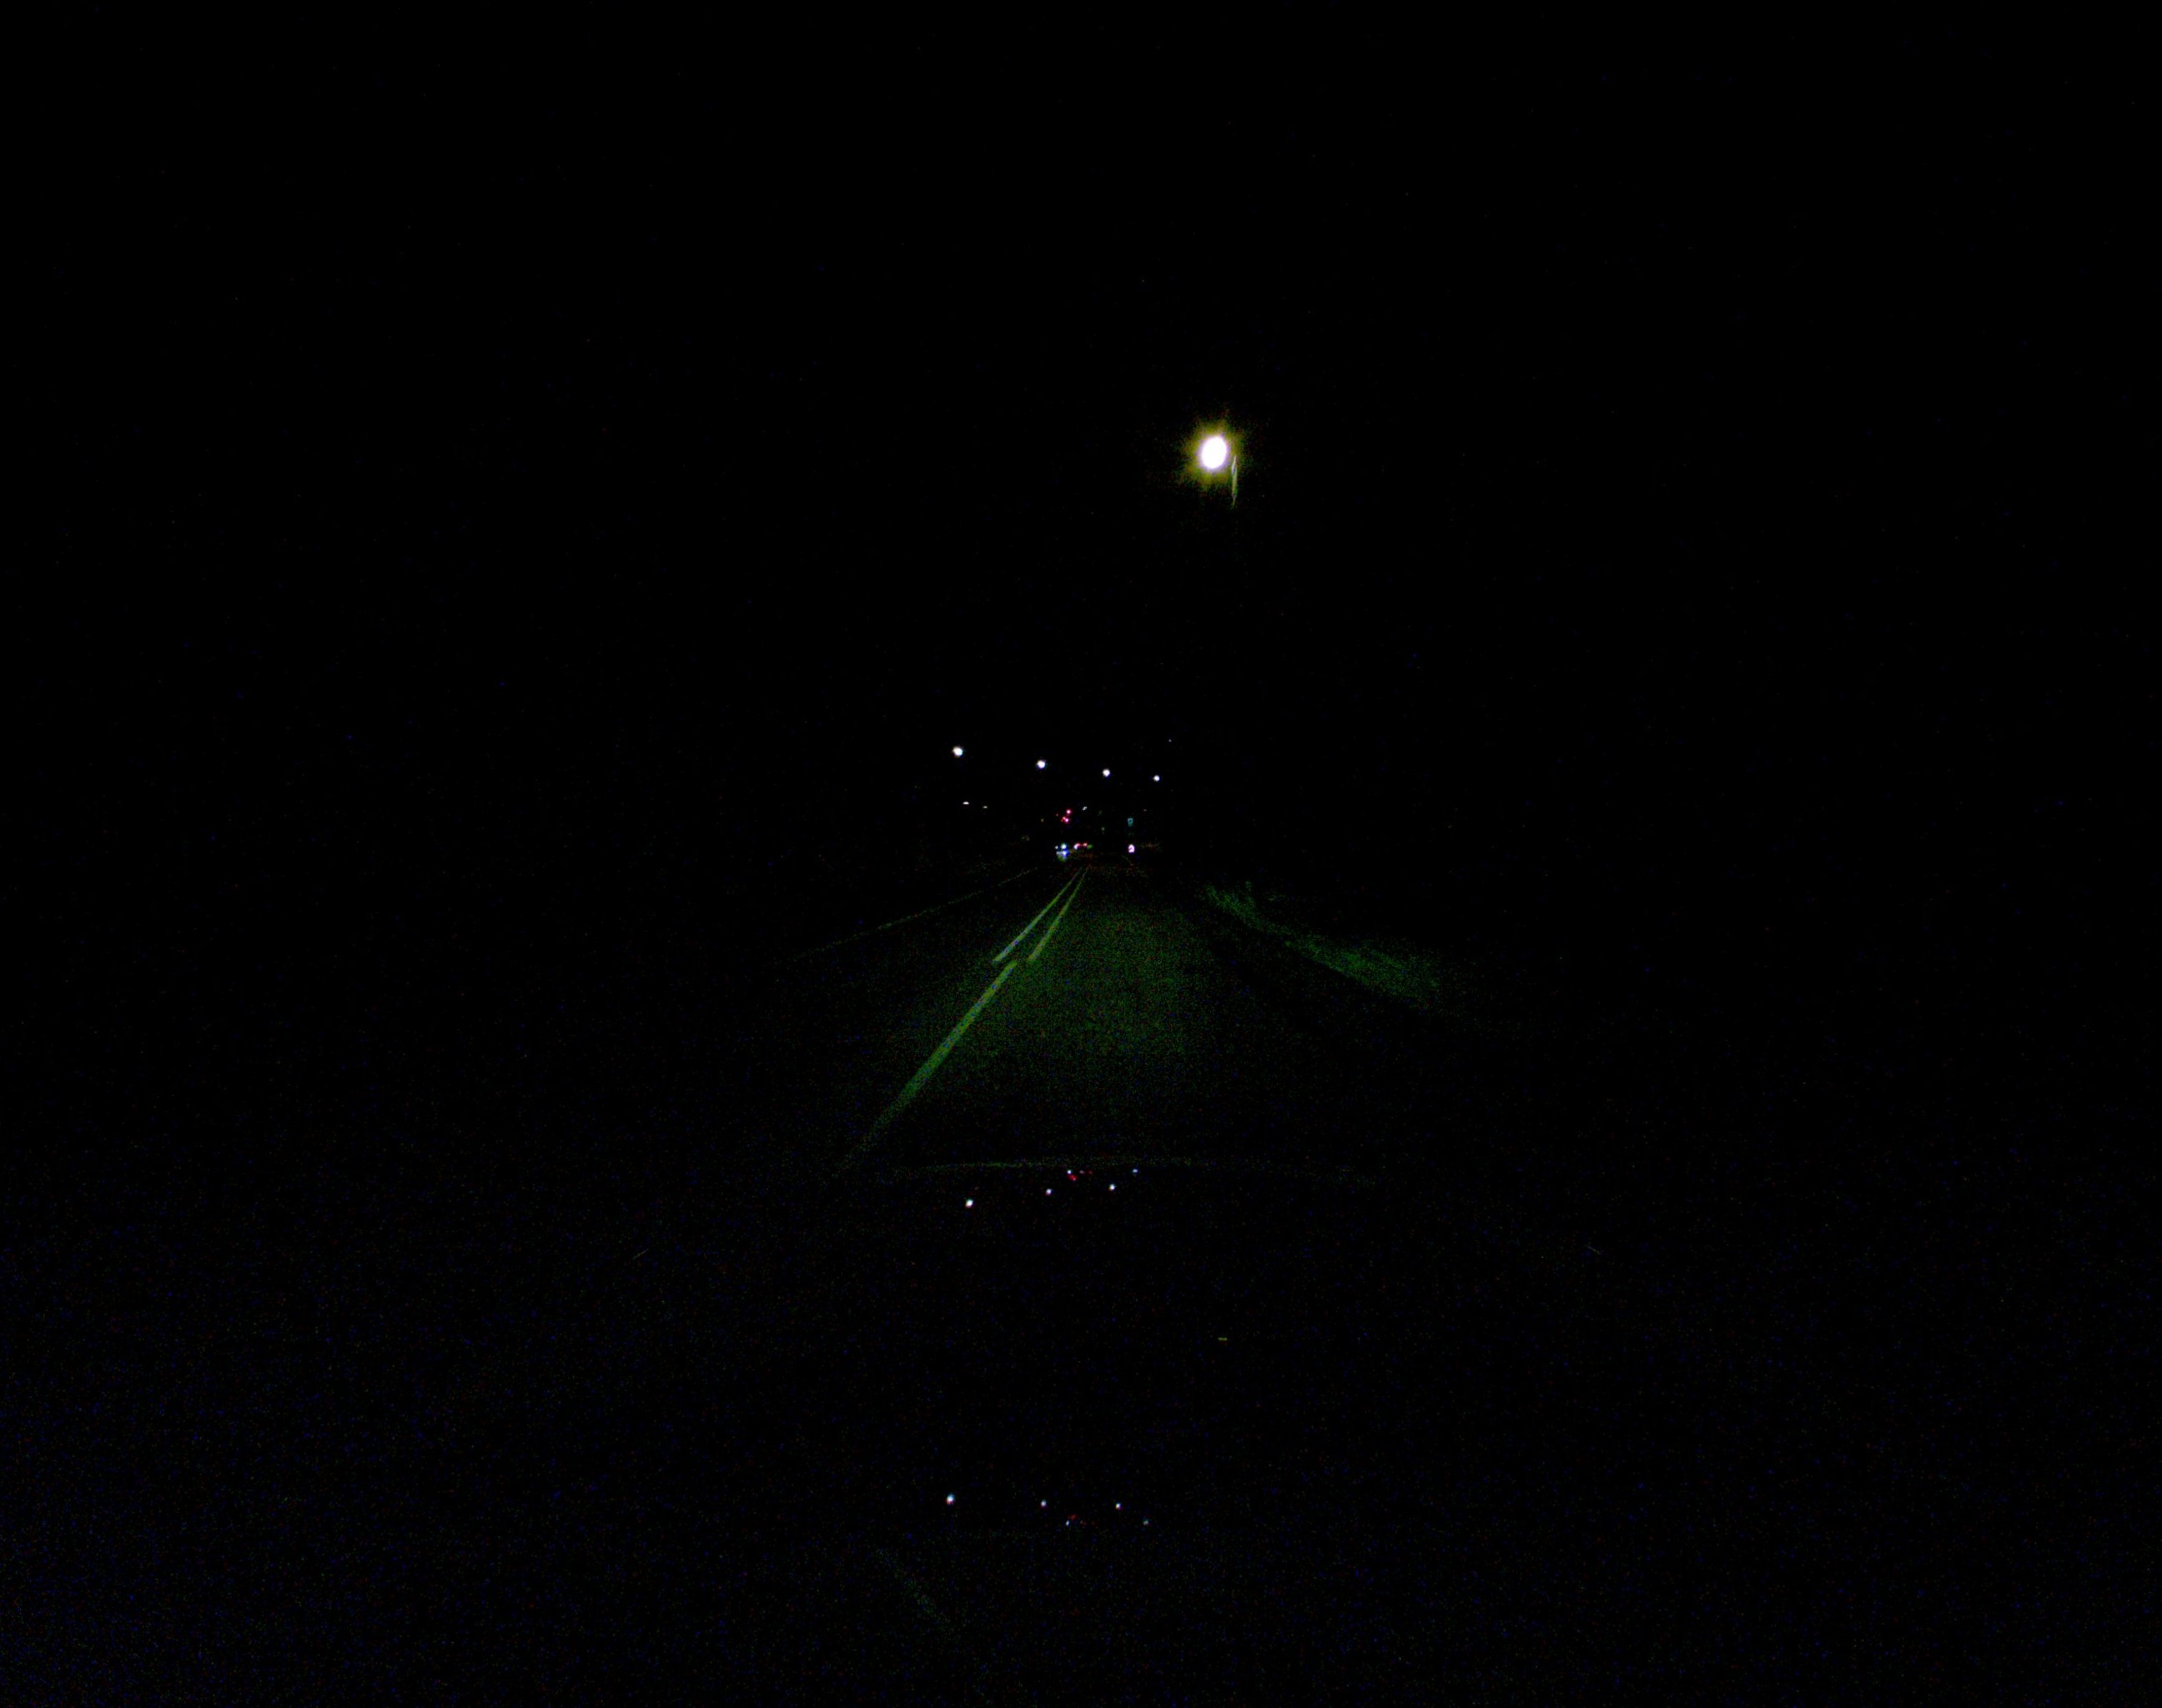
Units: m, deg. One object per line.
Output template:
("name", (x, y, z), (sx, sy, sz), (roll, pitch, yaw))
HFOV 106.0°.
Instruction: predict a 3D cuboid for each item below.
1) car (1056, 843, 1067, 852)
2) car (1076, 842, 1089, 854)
("car", (-3.572, -1.104, 150.295), (1.877, 1.554, 4.213), (-3, 0, -3))
("car", (0.227, -1.002, 143.556), (1.915, 2.014, 4.116), (0, -1, -4))
